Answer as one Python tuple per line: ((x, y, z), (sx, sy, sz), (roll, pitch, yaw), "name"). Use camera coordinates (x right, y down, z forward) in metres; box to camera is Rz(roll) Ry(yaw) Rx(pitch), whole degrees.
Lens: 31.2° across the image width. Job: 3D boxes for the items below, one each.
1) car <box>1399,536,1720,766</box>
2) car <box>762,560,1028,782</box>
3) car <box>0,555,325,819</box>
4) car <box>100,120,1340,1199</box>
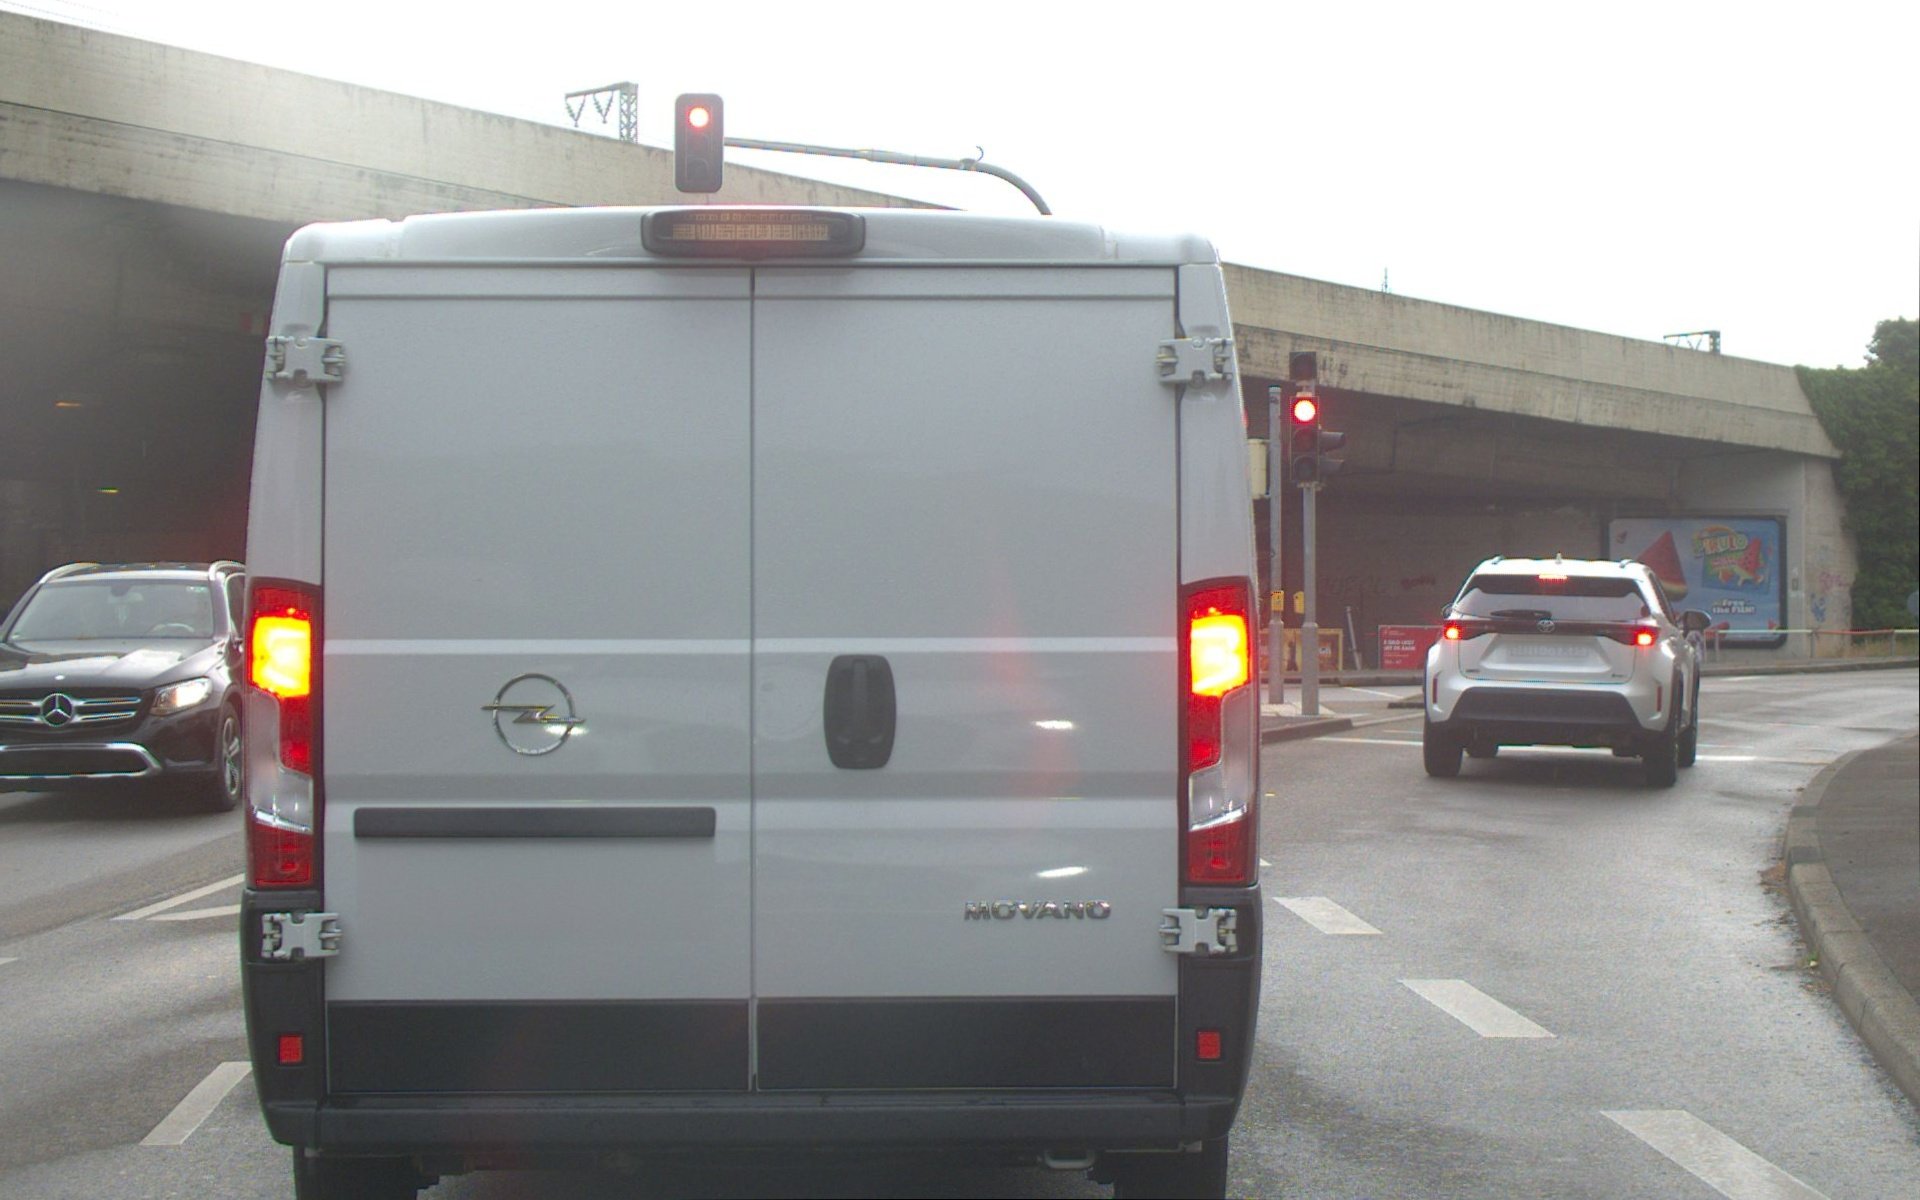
((4.481, 0.368, 25.243), (1.995, 1.544, 3.997), (0, -1, 15), "car")
((-0.468, 0.574, 28.781), (1.994, 1.723, 3.999), (0, -1, 2), "car")
((-5.642, 0.516, 23.335), (1.914, 1.621, 4.435), (0, 0, -1), "car")
((-0.465, 0.266, 9.047), (2.305, 2.335, 5.282), (0, 0, 0), "car")
